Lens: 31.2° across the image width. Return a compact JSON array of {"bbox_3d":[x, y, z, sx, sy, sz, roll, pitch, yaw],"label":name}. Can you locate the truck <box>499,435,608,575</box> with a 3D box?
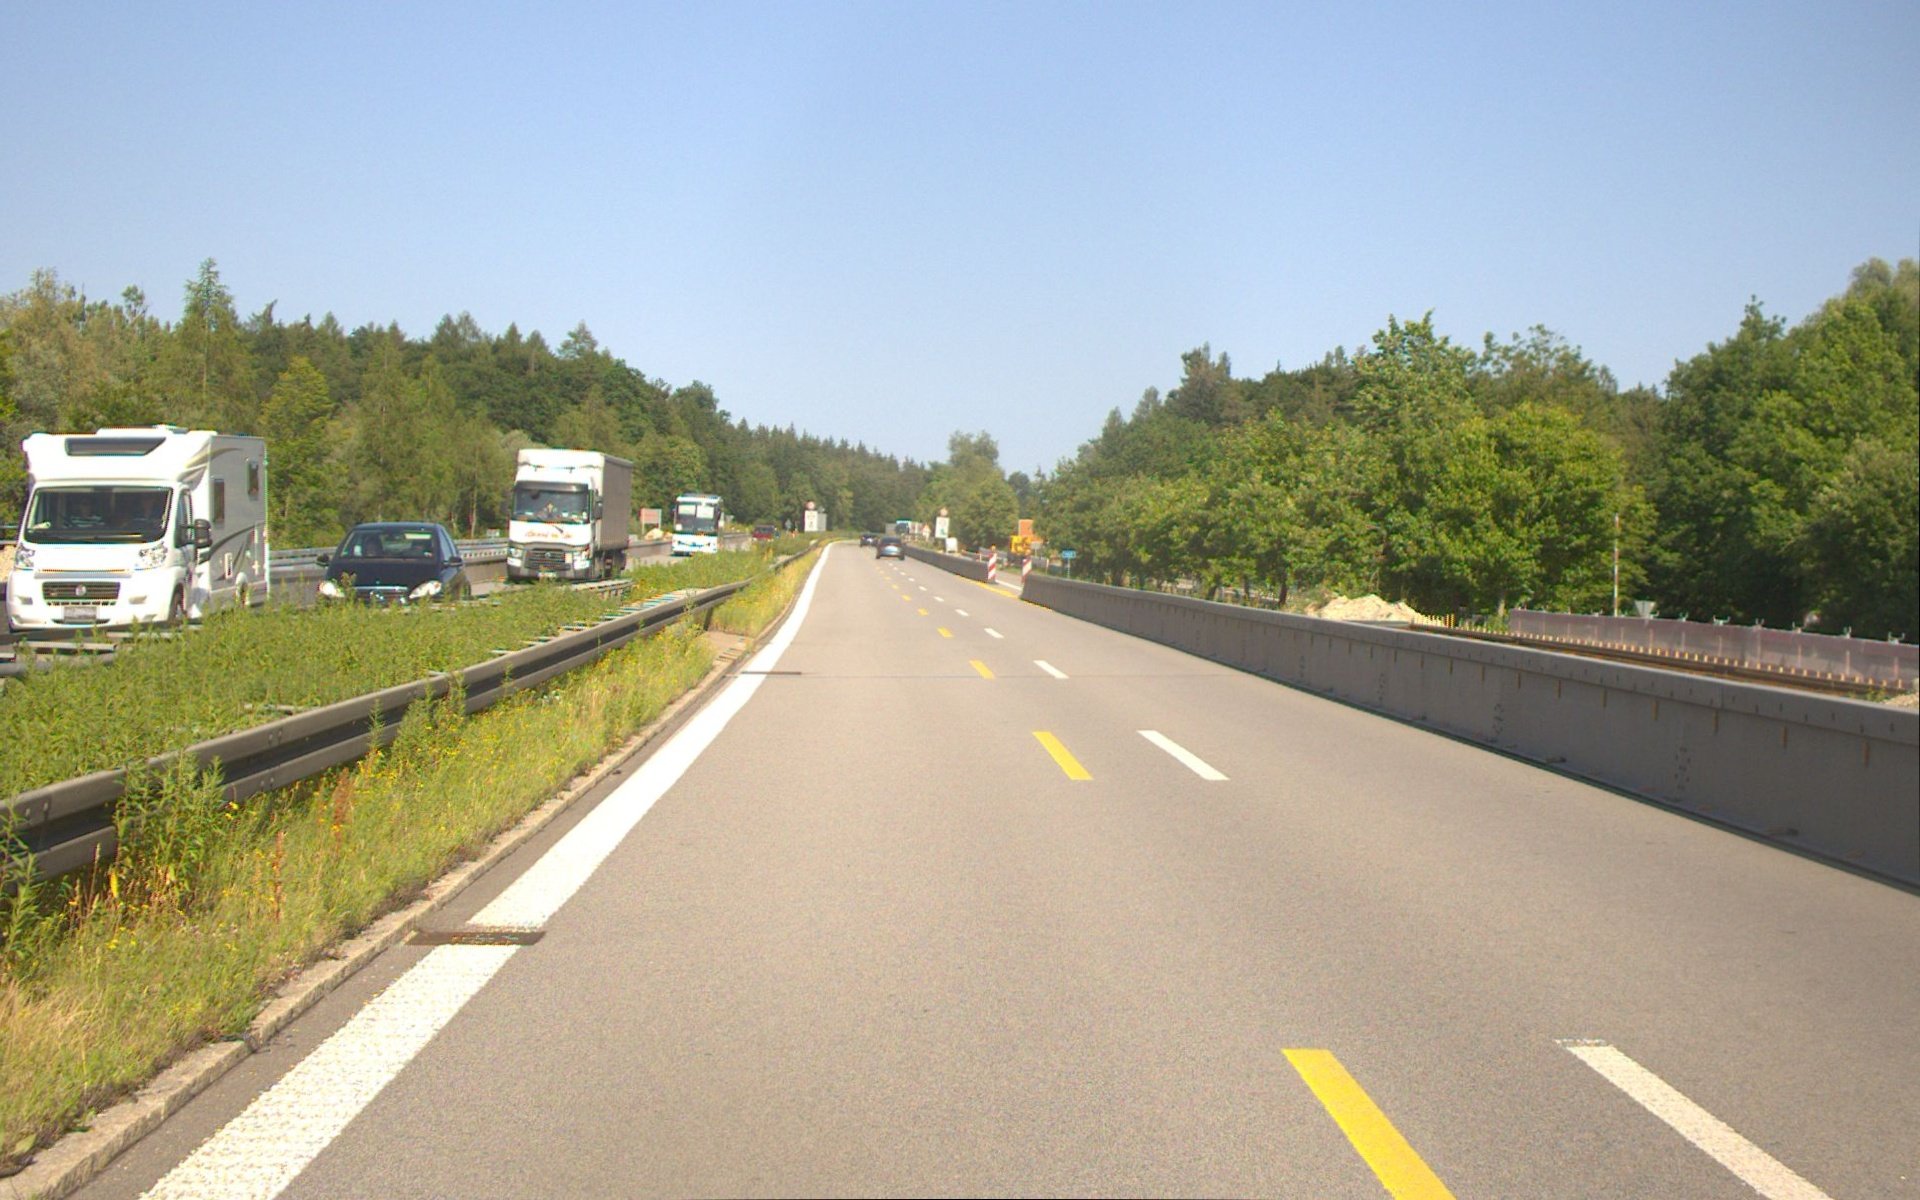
[{"bbox_3d":[-12.181,-2.834,103.280,2.770,4.074,5.476,0,1,-2],"label":"truck"}]

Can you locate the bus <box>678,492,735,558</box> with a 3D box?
[{"bbox_3d":[-14.853,-4.406,202.015,2.881,3.658,12.920,3,1,-3],"label":"bus"}]

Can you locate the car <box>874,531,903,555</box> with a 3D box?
[{"bbox_3d":[-4.624,-3.666,221.047,1.744,1.461,4.294,2,1,-2],"label":"car"}]

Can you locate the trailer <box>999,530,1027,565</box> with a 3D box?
[{"bbox_3d":[2.914,-2.908,189.448,1.125,1.867,4.001,2,1,-4],"label":"trailer"}]

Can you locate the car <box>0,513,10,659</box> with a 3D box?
[{"bbox_3d":[-10.249,-0.064,31.401,1.741,1.427,5.236,-2,1,-1],"label":"car"}]

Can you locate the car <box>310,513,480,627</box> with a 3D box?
[{"bbox_3d":[-7.857,-0.438,48.126,1.741,1.525,4.000,-1,1,-1],"label":"car"}]

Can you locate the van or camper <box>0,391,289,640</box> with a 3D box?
[{"bbox_3d":[-10.729,-1.087,45.148,2.406,2.940,7.523,1,1,-1],"label":"van or camper"}]
